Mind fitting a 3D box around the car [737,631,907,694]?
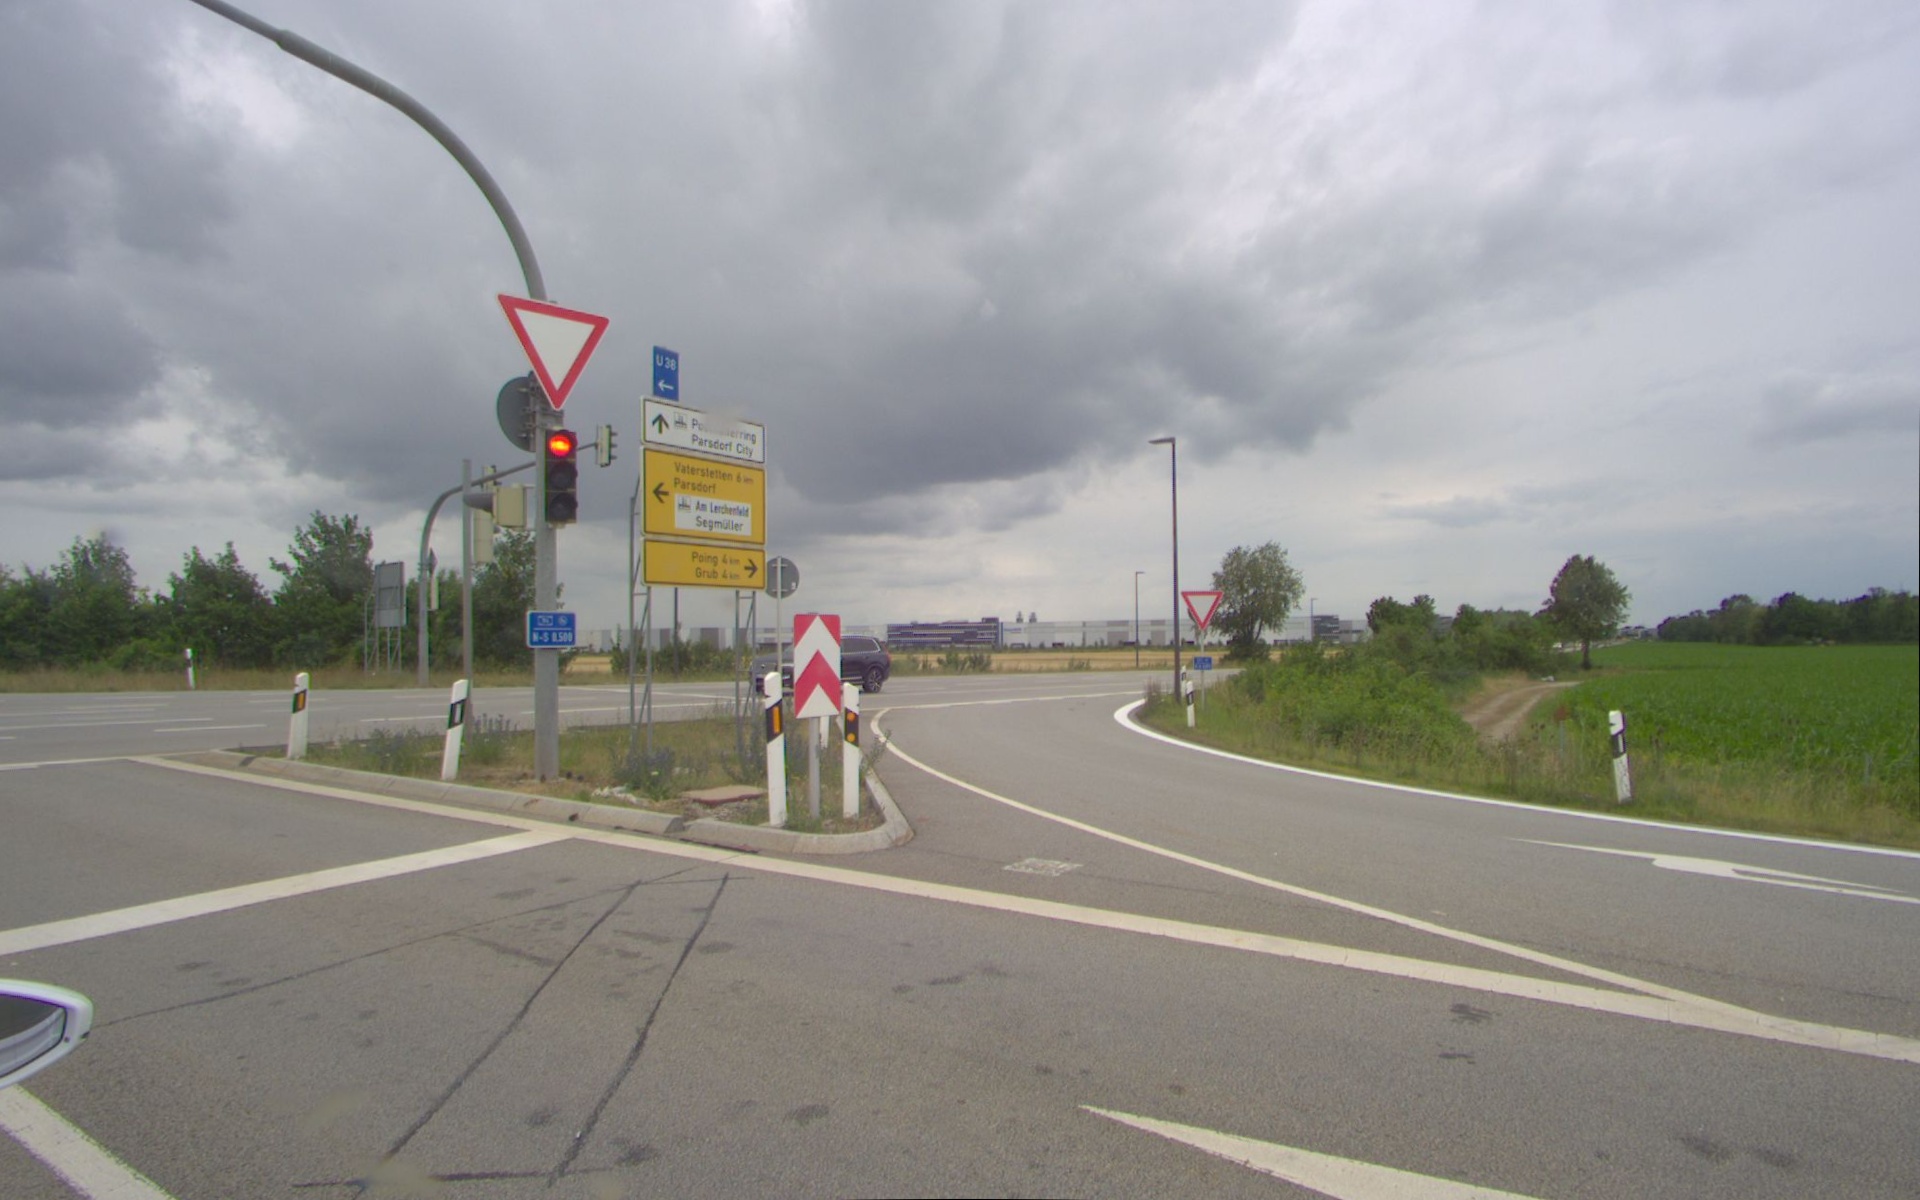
[{"bbox_3d":[-3.982,1.822,29.755,1.977,1.705,4.961,-2,-3,41],"label":"car"}]
